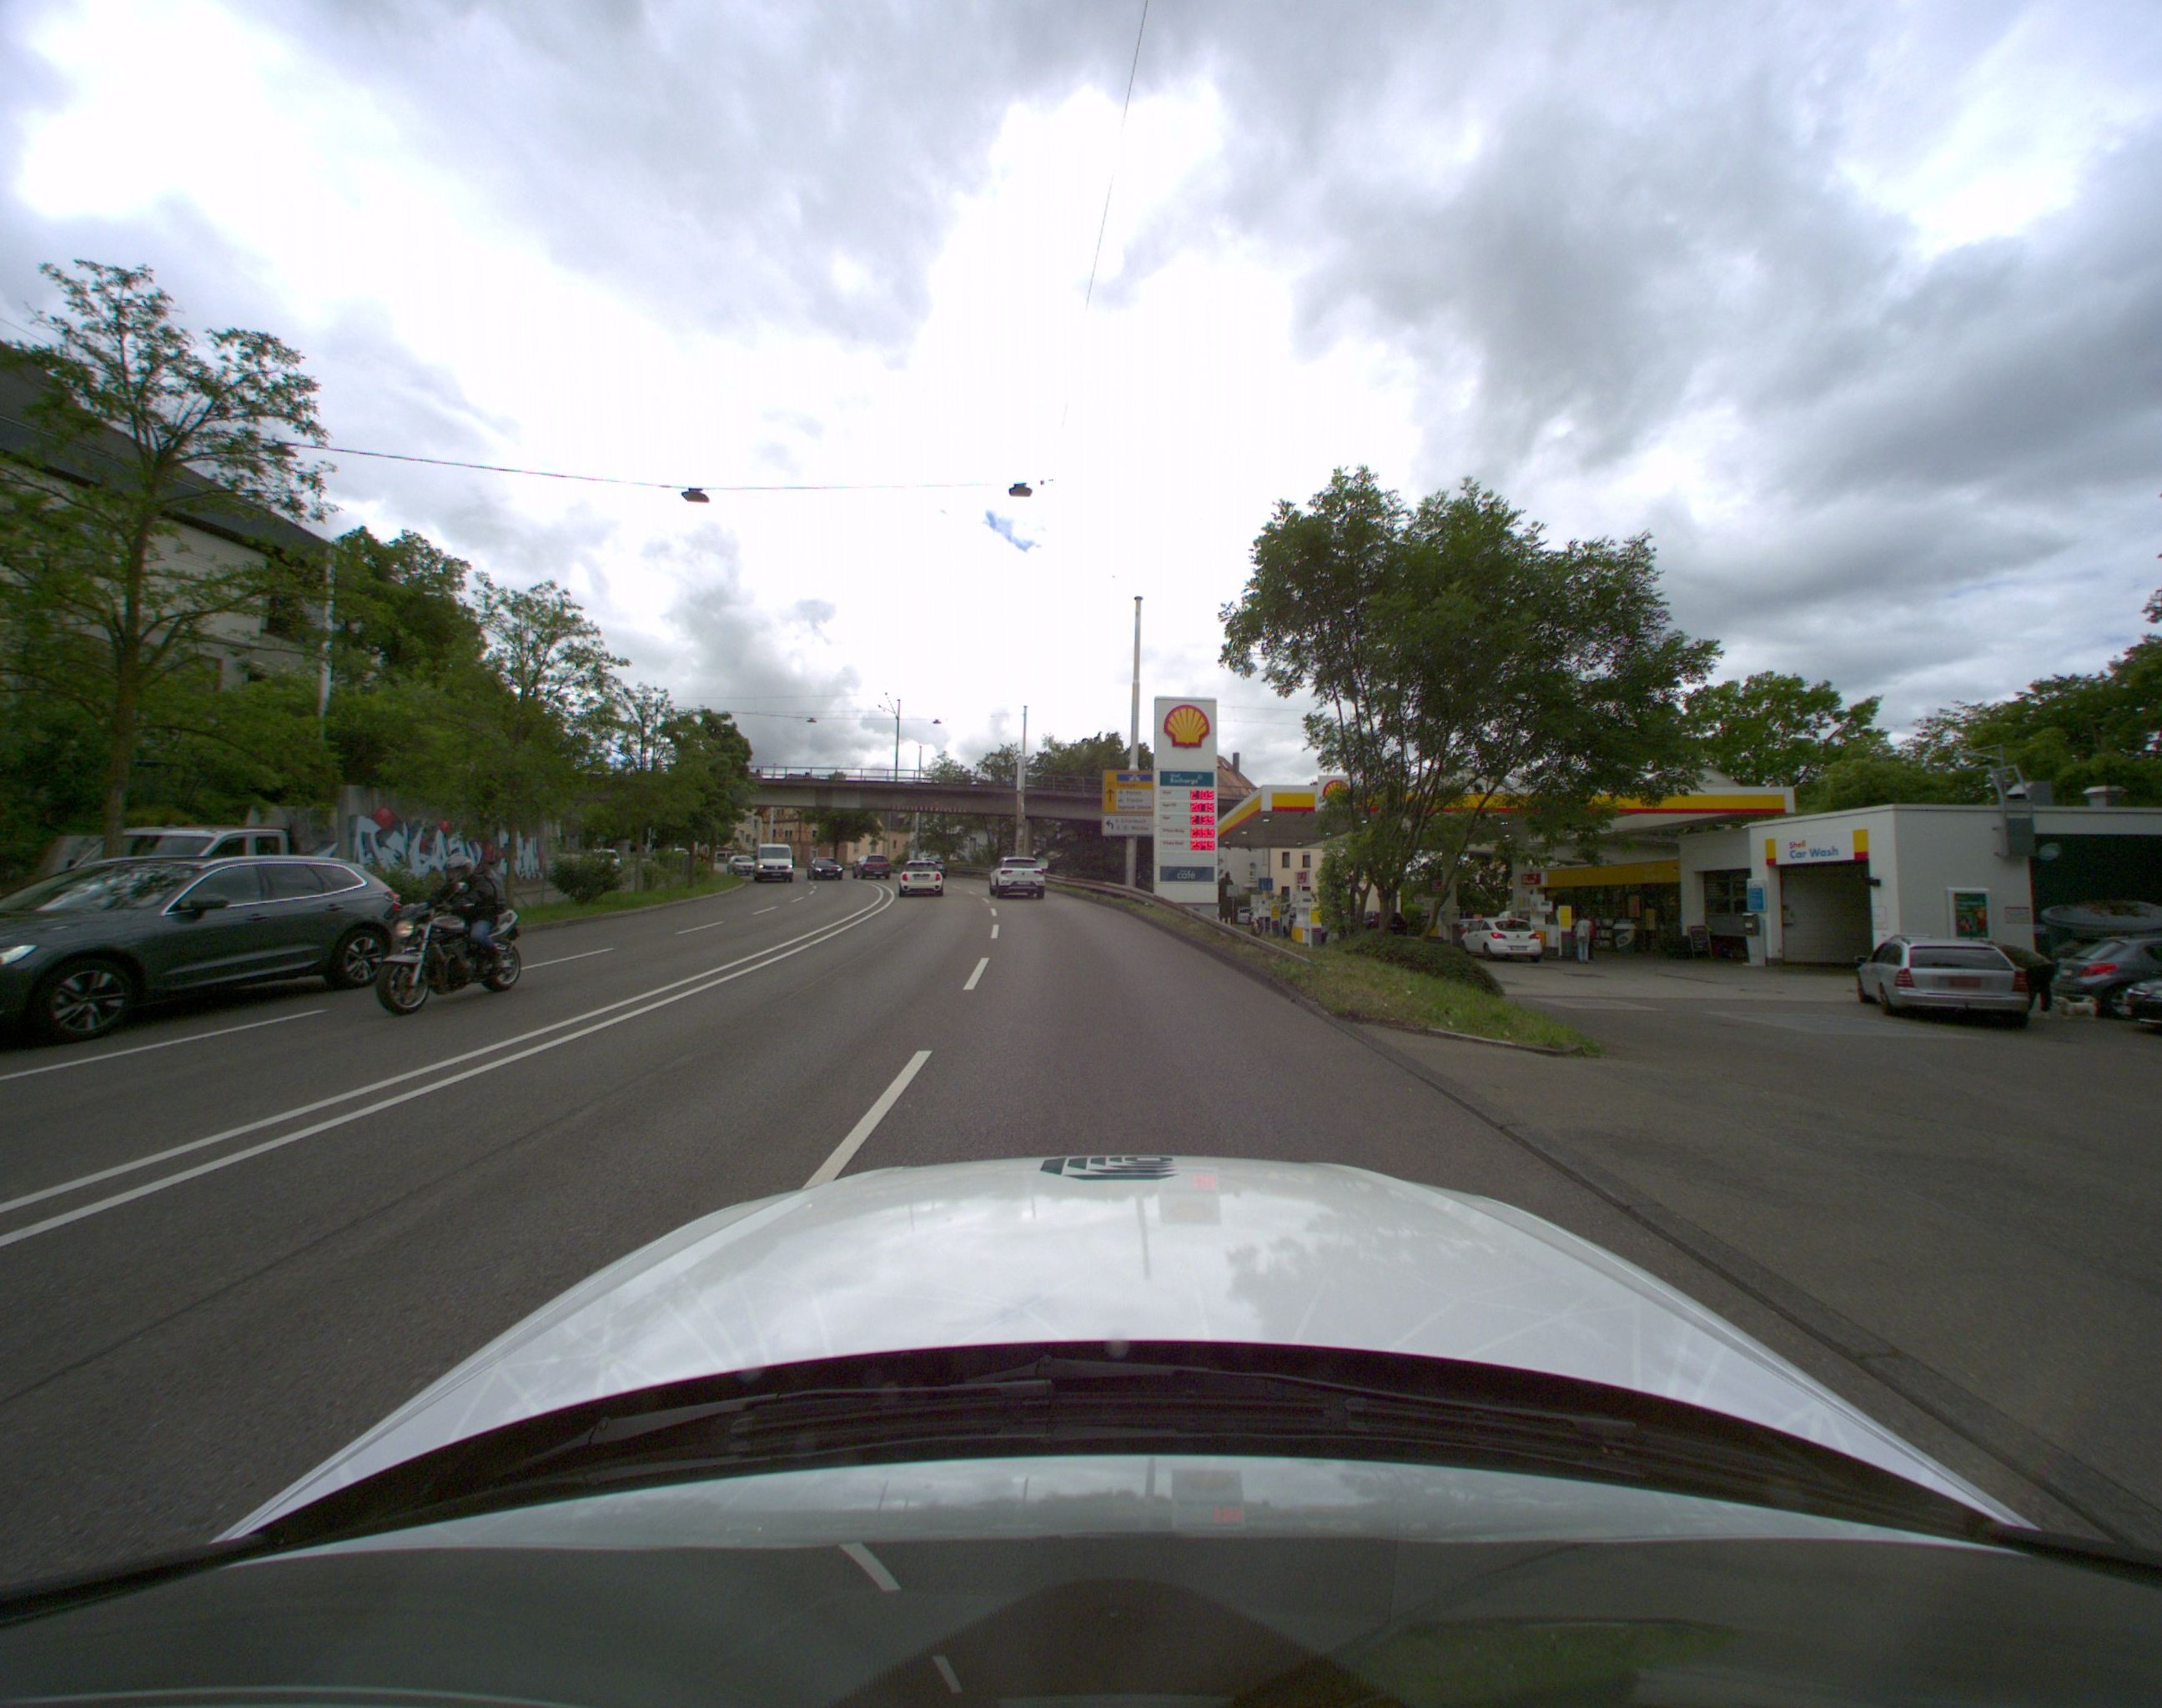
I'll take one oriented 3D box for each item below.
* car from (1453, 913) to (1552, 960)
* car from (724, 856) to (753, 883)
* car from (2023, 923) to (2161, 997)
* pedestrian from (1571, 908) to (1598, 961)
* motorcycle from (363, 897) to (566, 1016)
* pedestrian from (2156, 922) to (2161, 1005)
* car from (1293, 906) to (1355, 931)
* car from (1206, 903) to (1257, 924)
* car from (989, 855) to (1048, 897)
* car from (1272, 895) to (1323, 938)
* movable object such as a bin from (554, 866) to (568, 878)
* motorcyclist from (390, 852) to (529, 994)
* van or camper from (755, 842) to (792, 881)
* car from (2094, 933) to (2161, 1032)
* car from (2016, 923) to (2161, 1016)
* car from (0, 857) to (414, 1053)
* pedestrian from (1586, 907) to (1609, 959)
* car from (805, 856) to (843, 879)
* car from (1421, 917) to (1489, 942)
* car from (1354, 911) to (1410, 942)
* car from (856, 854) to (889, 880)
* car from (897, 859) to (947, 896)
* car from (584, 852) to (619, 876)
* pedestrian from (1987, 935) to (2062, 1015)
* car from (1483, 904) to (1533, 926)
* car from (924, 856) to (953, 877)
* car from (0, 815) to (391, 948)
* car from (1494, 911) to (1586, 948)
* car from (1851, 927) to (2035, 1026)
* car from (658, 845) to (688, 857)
[{"bbox_3d":[14.601,2.822,28.463,1.727,1.486,3.882,0,-4,5],"label":"car"},{"bbox_3d":[-26.056,1.149,61.953,1.837,1.904,3.905,3,0,-24],"label":"car"},{"bbox_3d":[23.135,2.187,17.036,4.054,1.436,1.733,-3,-3,27],"label":"car"},{"bbox_3d":[16.665,2.653,26.956,0.541,1.704,0.609,1,-1,-2],"label":"pedestrian"},{"bbox_3d":[-6.866,1.084,9.253,0.481,1.056,2.269,-2,0,2],"label":"motorcycle"},{"bbox_3d":[20.340,2.051,15.070,0.426,1.539,0.472,3,-3,41],"label":"pedestrian"},{"bbox_3d":[18.832,4.990,63.033,4.249,1.522,1.634,3,-3,31],"label":"car"},{"bbox_3d":[12.383,4.899,67.188,3.721,1.395,1.661,2,-3,34],"label":"car"},{"bbox_3d":[-2.463,0.814,31.392,1.798,1.519,3.442,1,0,-12],"label":"car"},{"bbox_3d":[10.775,3.122,40.830,1.727,2.011,4.718,0,-4,5],"label":"car"},{"bbox_3d":[-33.088,1.141,51.783,0.574,0.640,0.562,3,-3,42],"label":"movable object such as a bin"},{"bbox_3d":[-6.925,0.734,9.128,0.757,1.485,0.961,-2,-1,1],"label":"motorcyclist"},{"bbox_3d":[-18.839,0.419,50.061,2.015,2.261,5.922,0,0,-19],"label":"van or camper"},{"bbox_3d":[18.427,1.938,11.963,4.164,1.436,1.745,-5,-5,44],"label":"car"},{"bbox_3d":[19.543,2.020,14.204,4.048,1.520,1.638,-4,-4,44],"label":"car"},{"bbox_3d":[-9.682,0.834,8.565,1.781,1.575,4.464,-1,0,-3],"label":"car"},{"bbox_3d":[17.382,2.659,27.404,0.490,1.704,0.431,1,-1,-6],"label":"pedestrian"},{"bbox_3d":[-16.758,0.860,53.023,1.744,1.414,4.391,-1,0,-26],"label":"car"},{"bbox_3d":[22.522,4.532,49.170,3.585,1.458,1.666,-1,-4,21],"label":"car"},{"bbox_3d":[15.204,3.657,41.370,1.727,1.486,3.882,0,-4,5],"label":"car"},{"bbox_3d":[-13.840,0.832,53.960,1.728,1.640,3.433,1,-1,-20],"label":"car"},{"bbox_3d":[-6.387,0.920,33.025,1.721,1.376,3.448,1,0,-7],"label":"car"},{"bbox_3d":[-37.600,0.753,63.777,1.781,1.785,4.414,-1,1,-38],"label":"car"},{"bbox_3d":[17.028,2.170,14.716,0.730,1.312,0.707,0,-2,36],"label":"pedestrian"},{"bbox_3d":[32.592,4.633,62.162,3.593,1.349,1.588,7,-4,-27],"label":"car"},{"bbox_3d":[-9.836,0.828,56.081,1.678,1.409,3.439,1,0,-15],"label":"car"},{"bbox_3d":[-18.013,0.501,17.194,2.267,2.273,6.306,0,-1,-9],"label":"car"},{"bbox_3d":[24.446,3.993,43.471,3.843,1.939,1.744,0,-4,8],"label":"car"},{"bbox_3d":[15.908,2.154,15.271,1.581,1.432,4.320,-3,-4,36],"label":"car"},{"bbox_3d":[-48.155,-0.352,96.116,3.412,1.376,1.739,1,-1,37],"label":"car"}]
